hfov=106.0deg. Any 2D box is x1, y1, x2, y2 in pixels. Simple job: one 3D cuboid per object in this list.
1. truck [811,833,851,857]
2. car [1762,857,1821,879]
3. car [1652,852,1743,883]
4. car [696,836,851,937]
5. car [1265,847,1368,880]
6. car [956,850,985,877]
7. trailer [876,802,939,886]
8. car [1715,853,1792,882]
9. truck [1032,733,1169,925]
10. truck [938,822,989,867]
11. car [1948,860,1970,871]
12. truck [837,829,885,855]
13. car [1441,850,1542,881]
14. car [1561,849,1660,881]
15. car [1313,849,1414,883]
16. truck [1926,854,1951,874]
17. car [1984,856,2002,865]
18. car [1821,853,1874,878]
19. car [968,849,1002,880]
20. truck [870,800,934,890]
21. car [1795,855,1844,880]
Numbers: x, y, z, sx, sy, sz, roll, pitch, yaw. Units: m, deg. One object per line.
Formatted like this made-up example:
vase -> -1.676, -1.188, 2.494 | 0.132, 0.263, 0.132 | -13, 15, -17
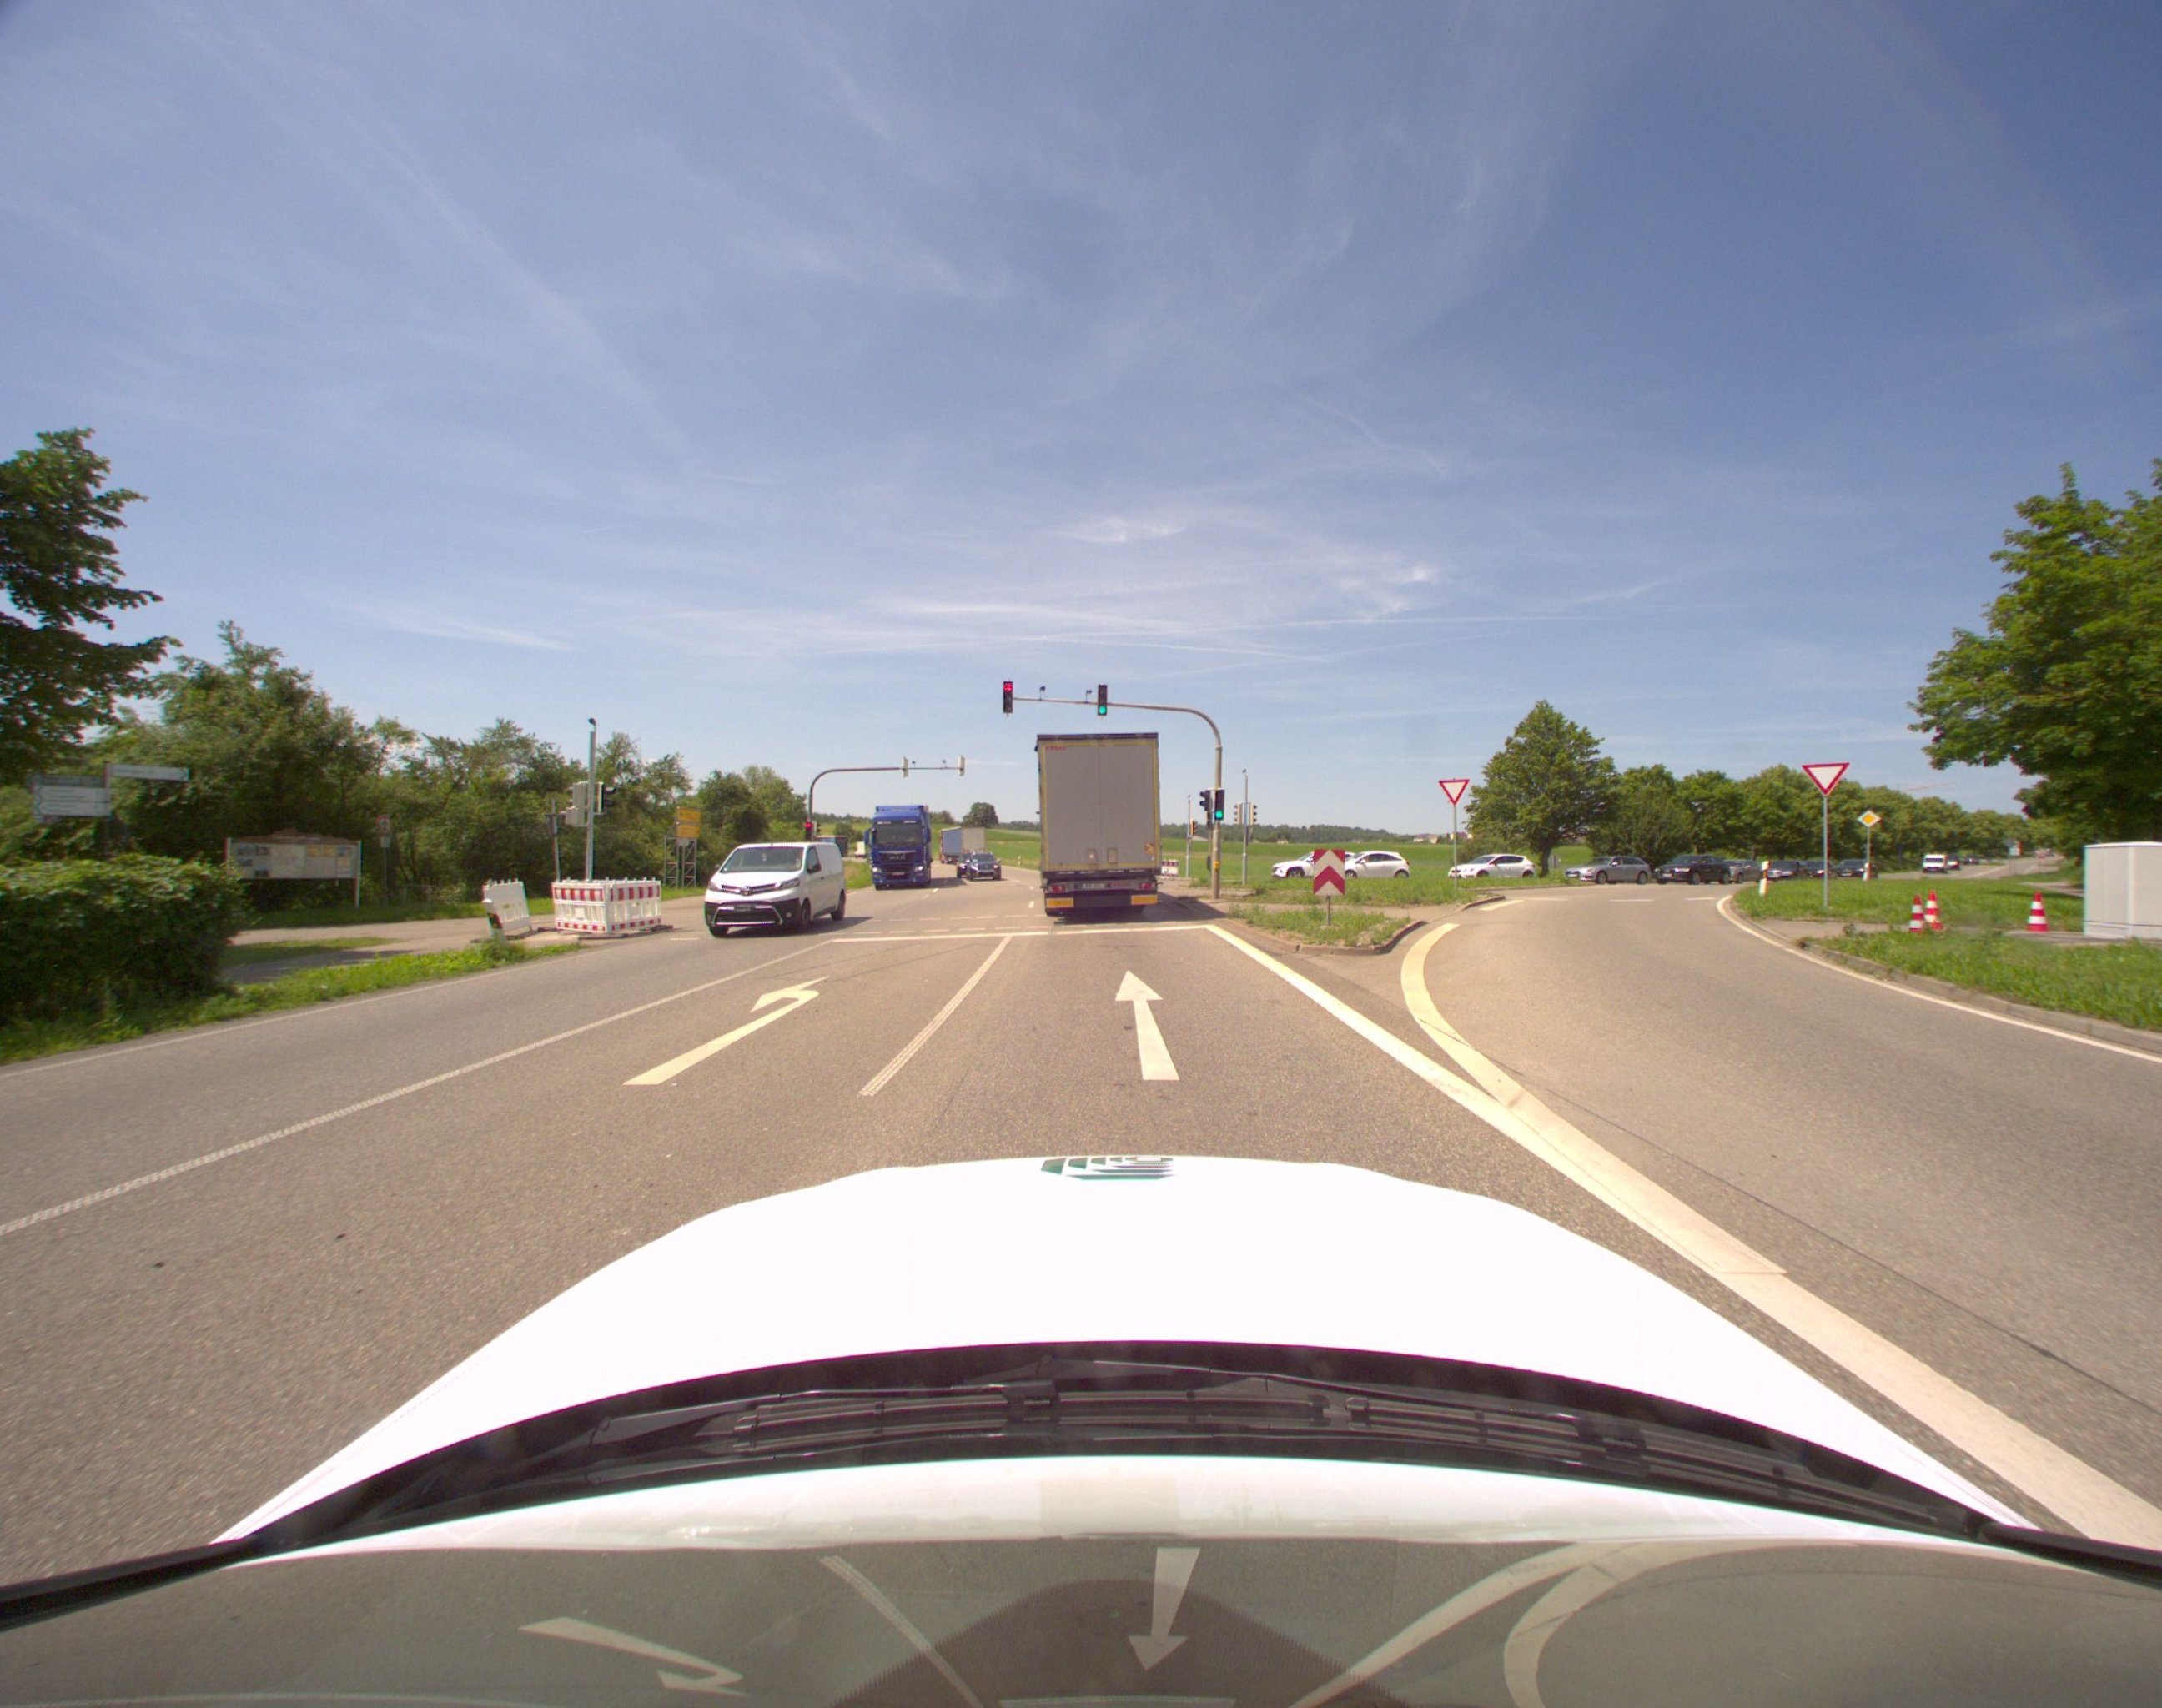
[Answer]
truck -> -48.945, -1.694, 159.054 | 3.556, 4.241, 13.258 | 1, -2, -36
car -> 43.047, 0.831, 49.296 | 4.582, 1.273, 1.780 | 1, -2, -37
car -> 31.988, 0.726, 42.219 | 4.567, 1.510, 1.786 | 2, -2, -24
car -> -6.560, 0.630, 18.020 | 1.867, 1.886, 4.943 | -2, 0, -5
car -> 11.845, 0.511, 41.126 | 4.614, 1.607, 1.996 | 0, -2, -2
car -> -7.257, 0.615, 53.332 | 1.770, 1.658, 3.988 | -1, 0, -9
trailer -> -9.613, -0.537, 46.395 | 2.566, 4.029, 13.553 | -1, 0, -9
car -> 37.570, 0.765, 45.474 | 4.574, 1.510, 1.784 | 1, -2, -29
truck -> 0.288, -0.529, 21.695 | 2.800, 3.946, 9.584 | -1, 0, -2
truck -> -13.345, -0.983, 90.921 | 2.969, 4.584, 16.218 | -1, 0, -17
car -> 132.041, 1.732, 122.466 | 4.020, 1.649, 1.977 | 1, -2, -40
truck -> -39.362, -2.125, 145.242 | 3.665, 4.129, 12.951 | 1, -2, -37
car -> 19.477, 0.543, 38.695 | 4.099, 1.419, 1.792 | -1, -1, -15
car -> 26.168, 0.586, 40.241 | 4.563, 1.510, 1.788 | 1, -2, -21
car -> 12.828, 0.555, 37.074 | 3.955, 1.419, 1.824 | -1, -1, -7
truck -> 114.021, 1.321, 108.225 | 4.020, 2.598, 1.977 | 1, -2, -40
car -> 165.242, 1.194, 147.552 | 4.020, 1.649, 1.977 | 1, -2, -40
car -> 53.188, 0.801, 56.490 | 4.311, 1.698, 1.978 | 1, -2, -37
car -> -5.626, 0.588, 47.284 | 1.771, 1.658, 3.987 | -1, 0, -9
truck -> -8.699, -0.452, 40.247 | 2.566, 4.029, 6.541 | -1, 0, -9
car -> 48.178, 0.891, 53.107 | 4.254, 1.510, 1.780 | 1, -2, -40
